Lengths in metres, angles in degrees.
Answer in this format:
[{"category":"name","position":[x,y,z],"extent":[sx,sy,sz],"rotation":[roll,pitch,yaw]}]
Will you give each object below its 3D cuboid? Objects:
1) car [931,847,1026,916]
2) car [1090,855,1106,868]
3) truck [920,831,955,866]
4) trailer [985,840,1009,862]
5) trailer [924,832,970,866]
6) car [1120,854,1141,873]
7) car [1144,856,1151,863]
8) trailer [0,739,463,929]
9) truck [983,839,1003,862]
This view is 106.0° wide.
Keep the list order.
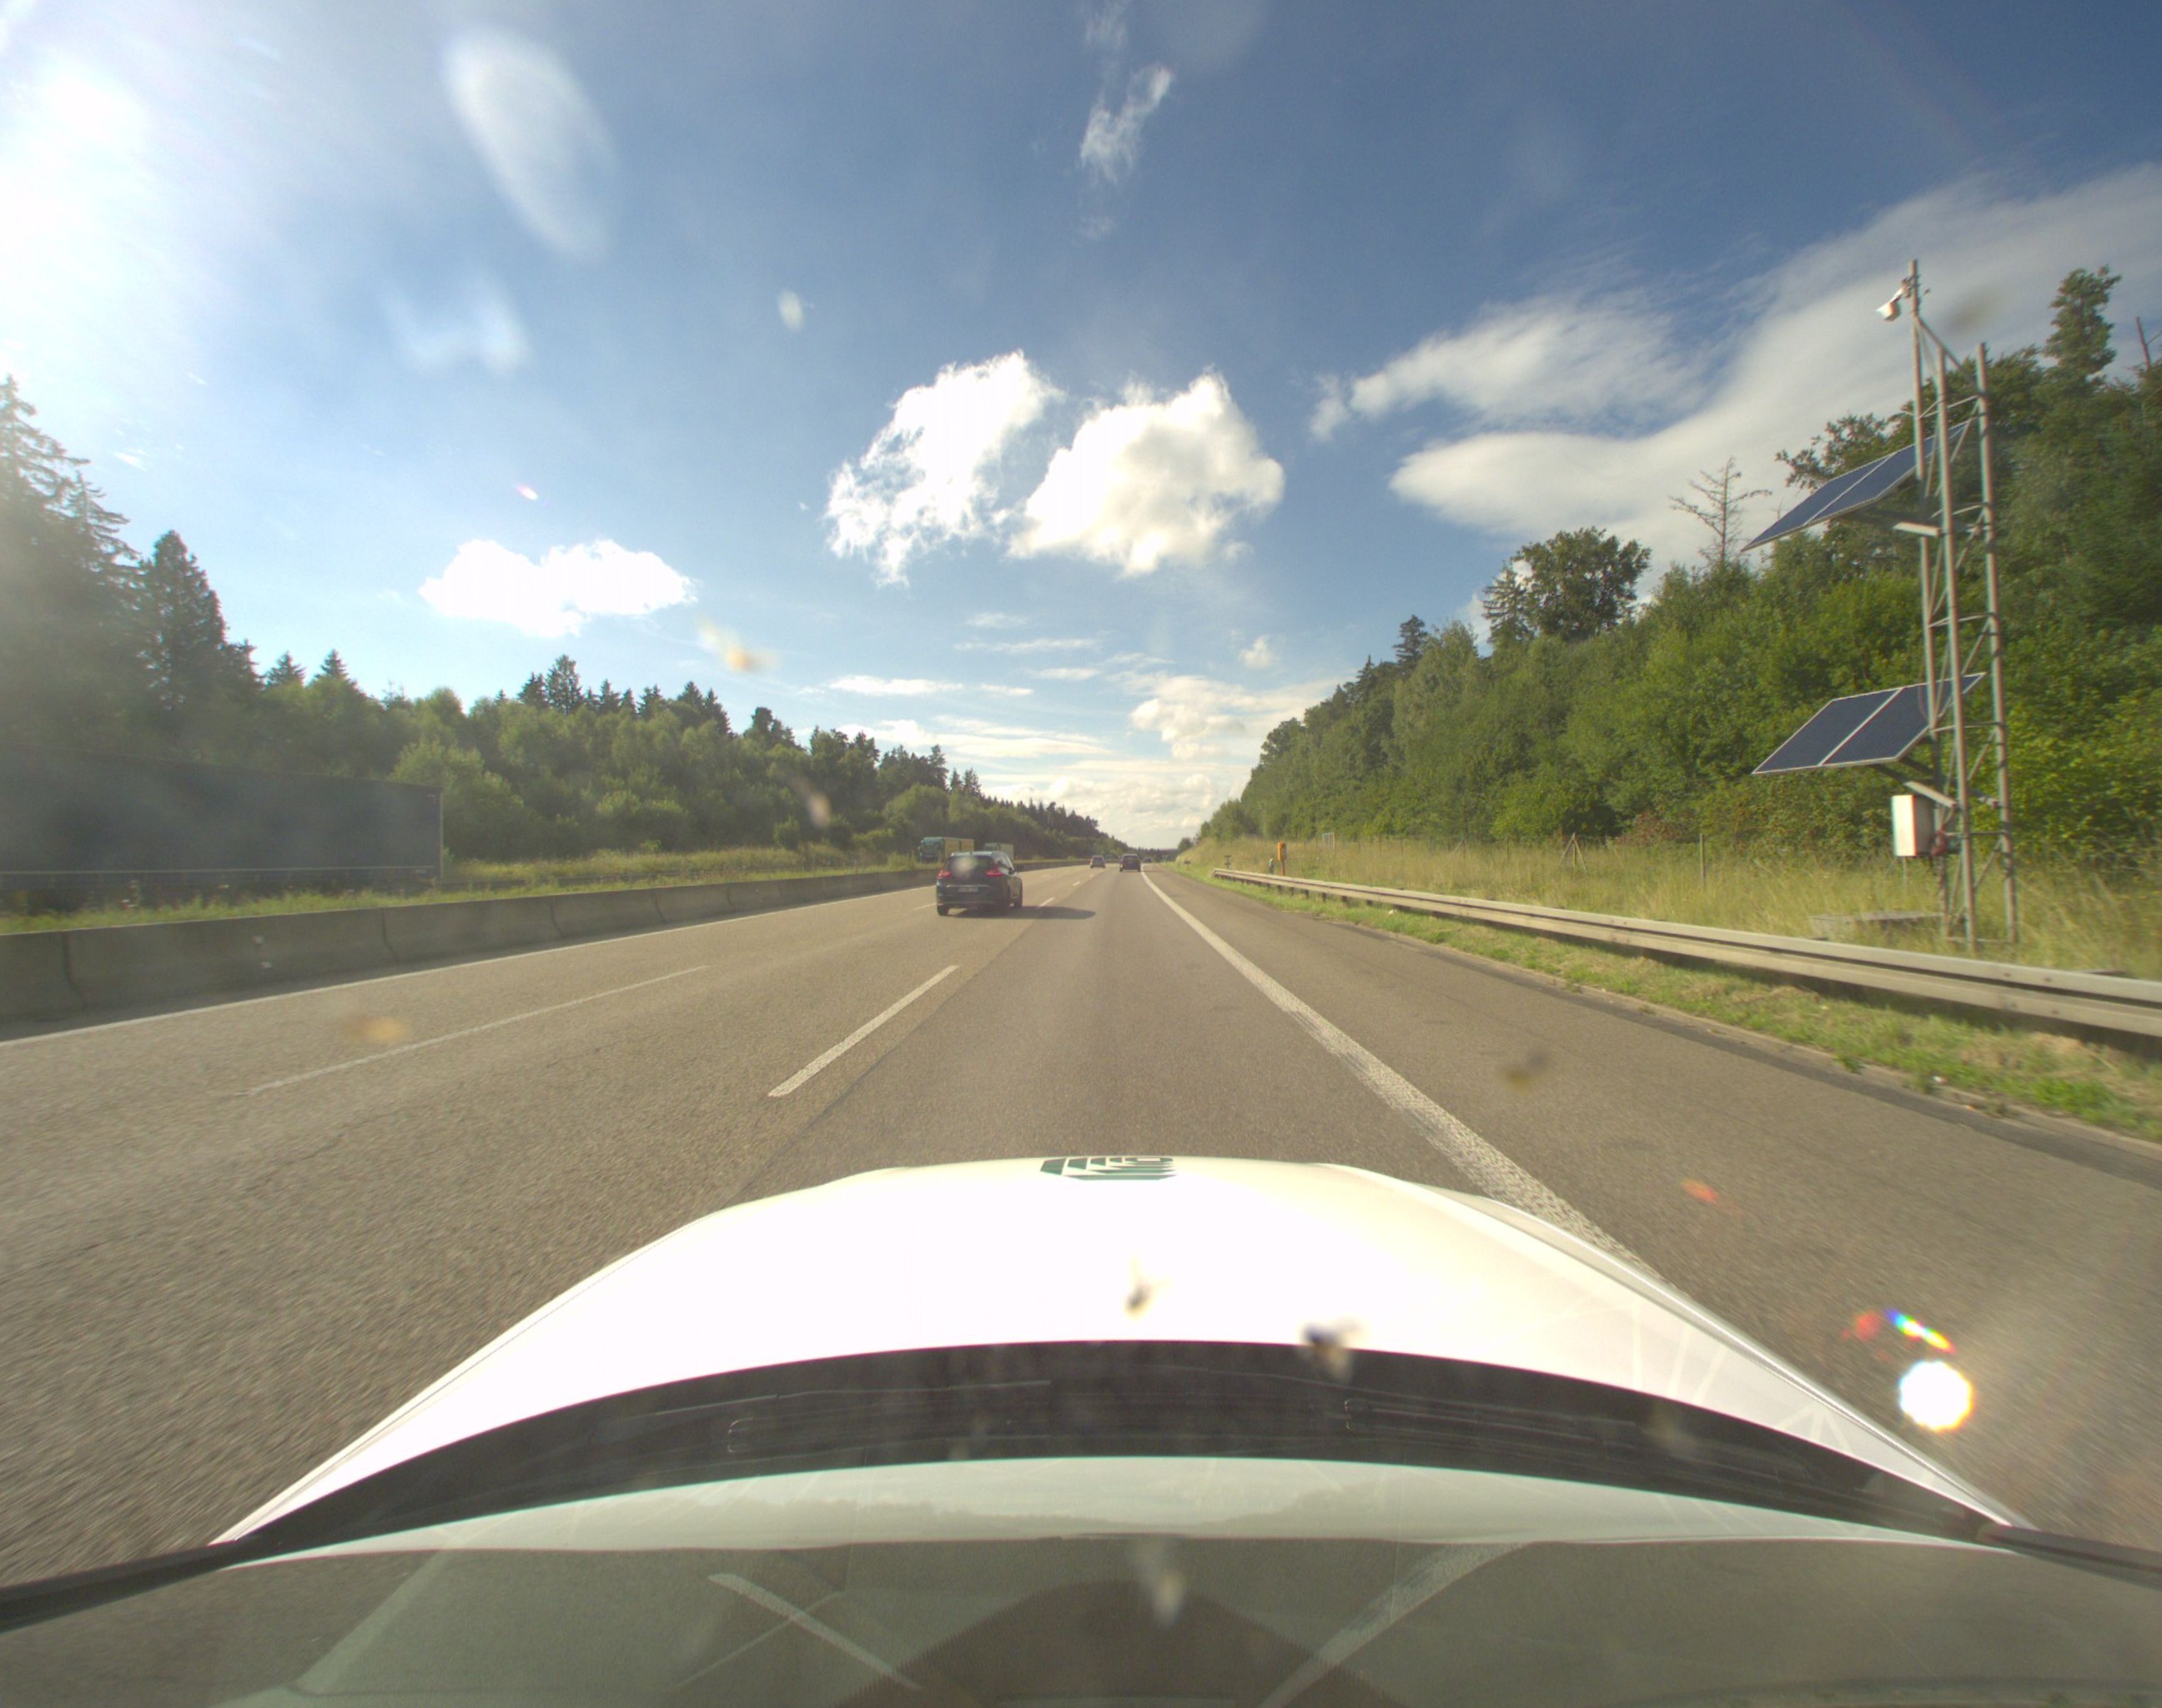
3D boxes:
[{"category":"car","position":[-2.721,0.696,22.693],"extent":[1.986,1.707,4.530],"rotation":[-1,0,1]},{"category":"car","position":[2.113,0.919,102.219],"extent":[1.868,1.497,3.879],"rotation":[0,1,0]},{"category":"truck","position":[-17.363,-0.631,98.864],"extent":[2.637,4.086,6.424],"rotation":[-1,0,5]},{"category":"trailer","position":[-14.497,-0.549,141.157],"extent":[2.668,3.718,10.012],"rotation":[0,0,2]},{"category":"trailer","position":[-16.948,-0.627,103.926],"extent":[2.637,4.086,13.218],"rotation":[-1,0,5]},{"category":"car","position":[4.598,0.870,75.325],"extent":[1.866,1.675,3.893],"rotation":[0,1,3]},{"category":"car","position":[18.171,1.530,223.317],"extent":[1.805,1.706,4.002],"rotation":[-1,1,1]},{"category":"trailer","position":[-22.104,-0.382,20.578],"extent":[2.270,3.728,13.285],"rotation":[-1,0,3]},{"category":"truck","position":[-14.698,-0.531,136.165],"extent":[2.683,3.749,5.173],"rotation":[0,0,2]}]
